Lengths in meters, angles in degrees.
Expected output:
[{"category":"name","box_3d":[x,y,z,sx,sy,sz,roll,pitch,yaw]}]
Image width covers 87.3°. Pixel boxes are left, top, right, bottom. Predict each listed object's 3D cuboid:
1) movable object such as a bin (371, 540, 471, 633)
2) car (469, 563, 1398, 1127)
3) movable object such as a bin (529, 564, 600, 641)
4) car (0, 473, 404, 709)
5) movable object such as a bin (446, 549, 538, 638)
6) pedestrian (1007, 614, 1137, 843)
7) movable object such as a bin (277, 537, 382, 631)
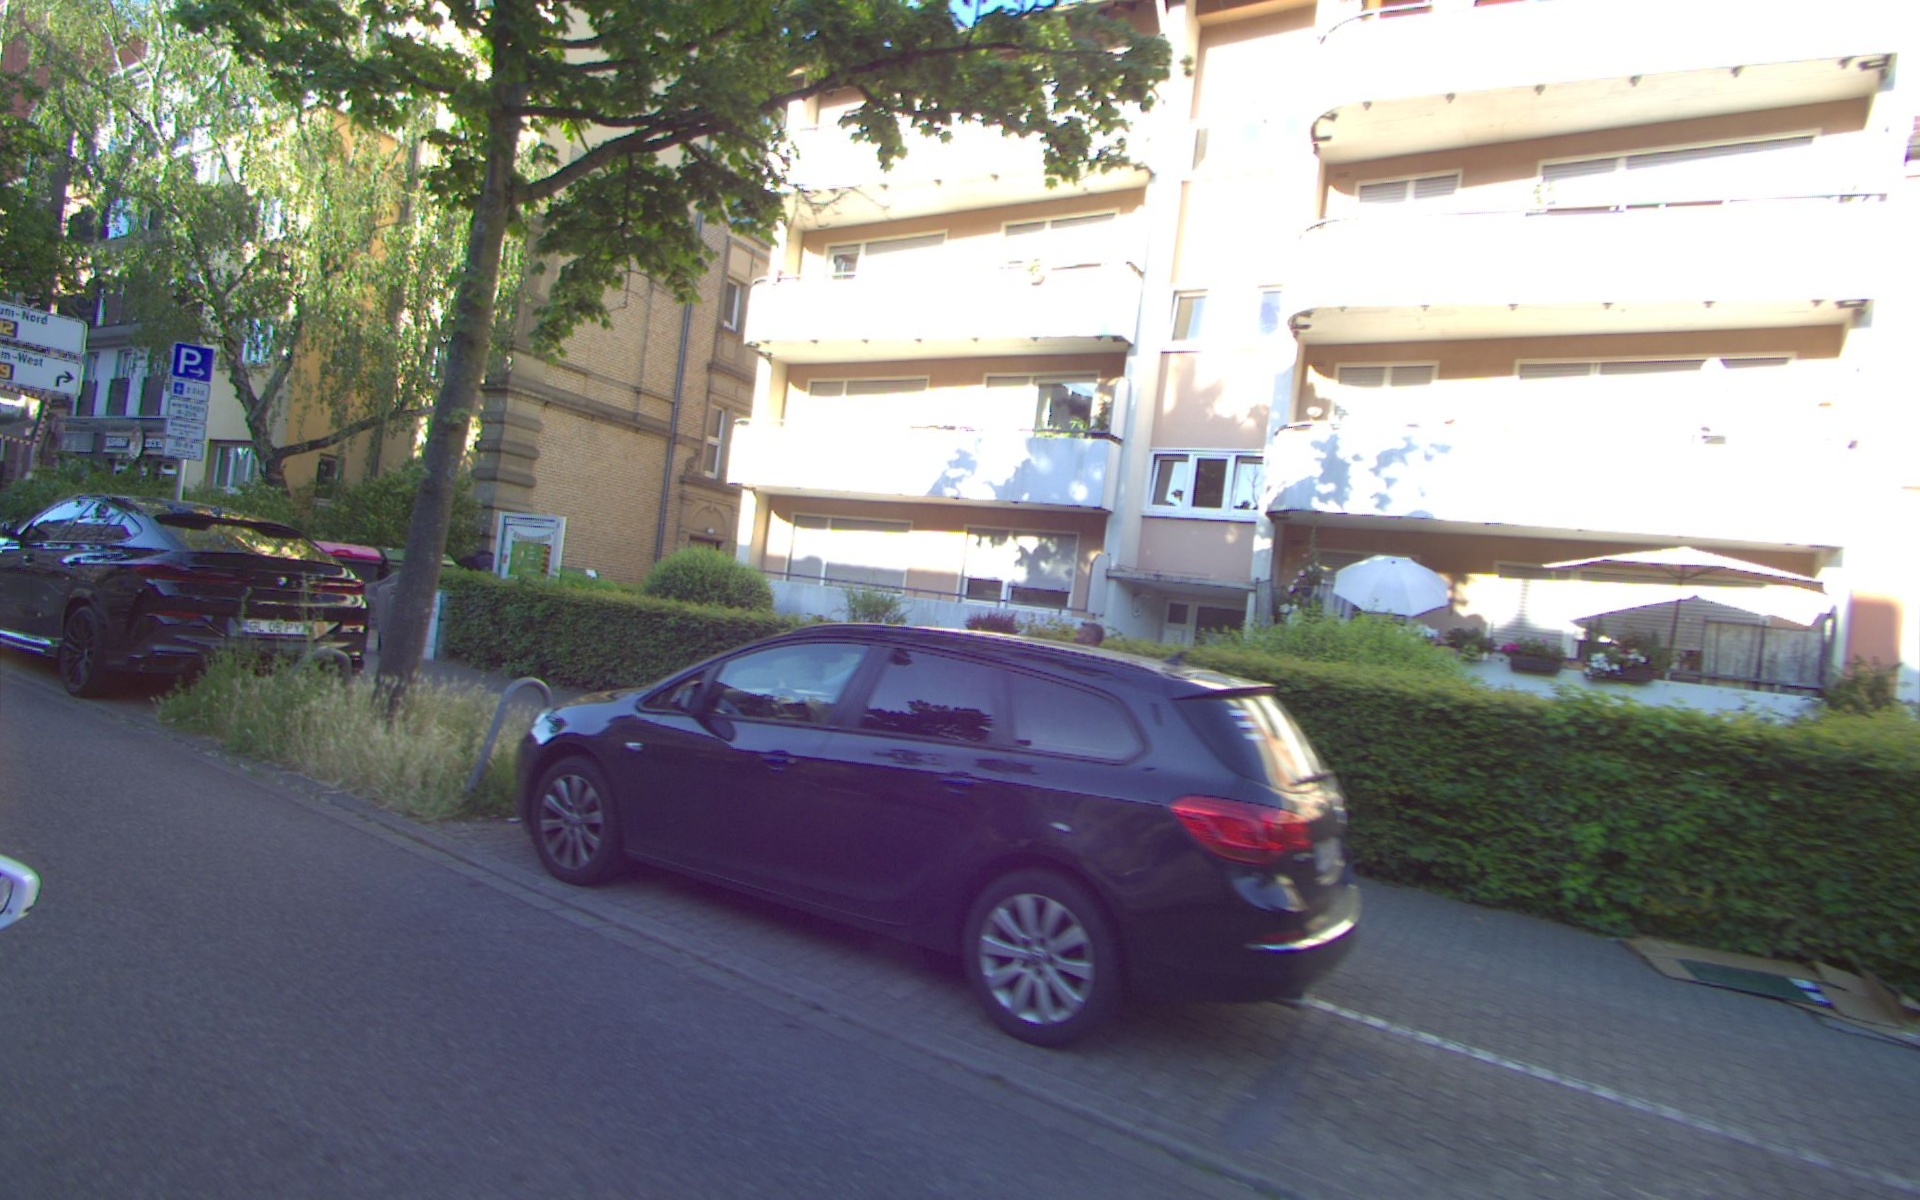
[{"category":"movable object such as a bin","box_3d":[-10.171,-0.237,19.024,0.976,1.574,1.158,7,-1,22]},{"category":"car","box_3d":[-0.297,0.825,5.120,4.356,1.490,1.719,7,0,30]},{"category":"movable object such as a bin","box_3d":[-8.402,0.057,21.345,1.130,1.459,0.987,7,-1,-30]},{"category":"car","box_3d":[-7.682,-0.159,9.596,4.716,1.674,1.951,7,-1,31]},{"category":"movable object such as a bin","box_3d":[-9.328,-0.114,20.078,0.976,1.574,1.158,7,-1,22]},{"category":"pedestrian","box_3d":[0.885,0.977,7.852,0.570,1.635,0.747,7,0,30]},{"category":"movable object such as a bin","box_3d":[-11.049,-0.276,17.635,1.249,1.459,0.982,8,-1,-44]}]
